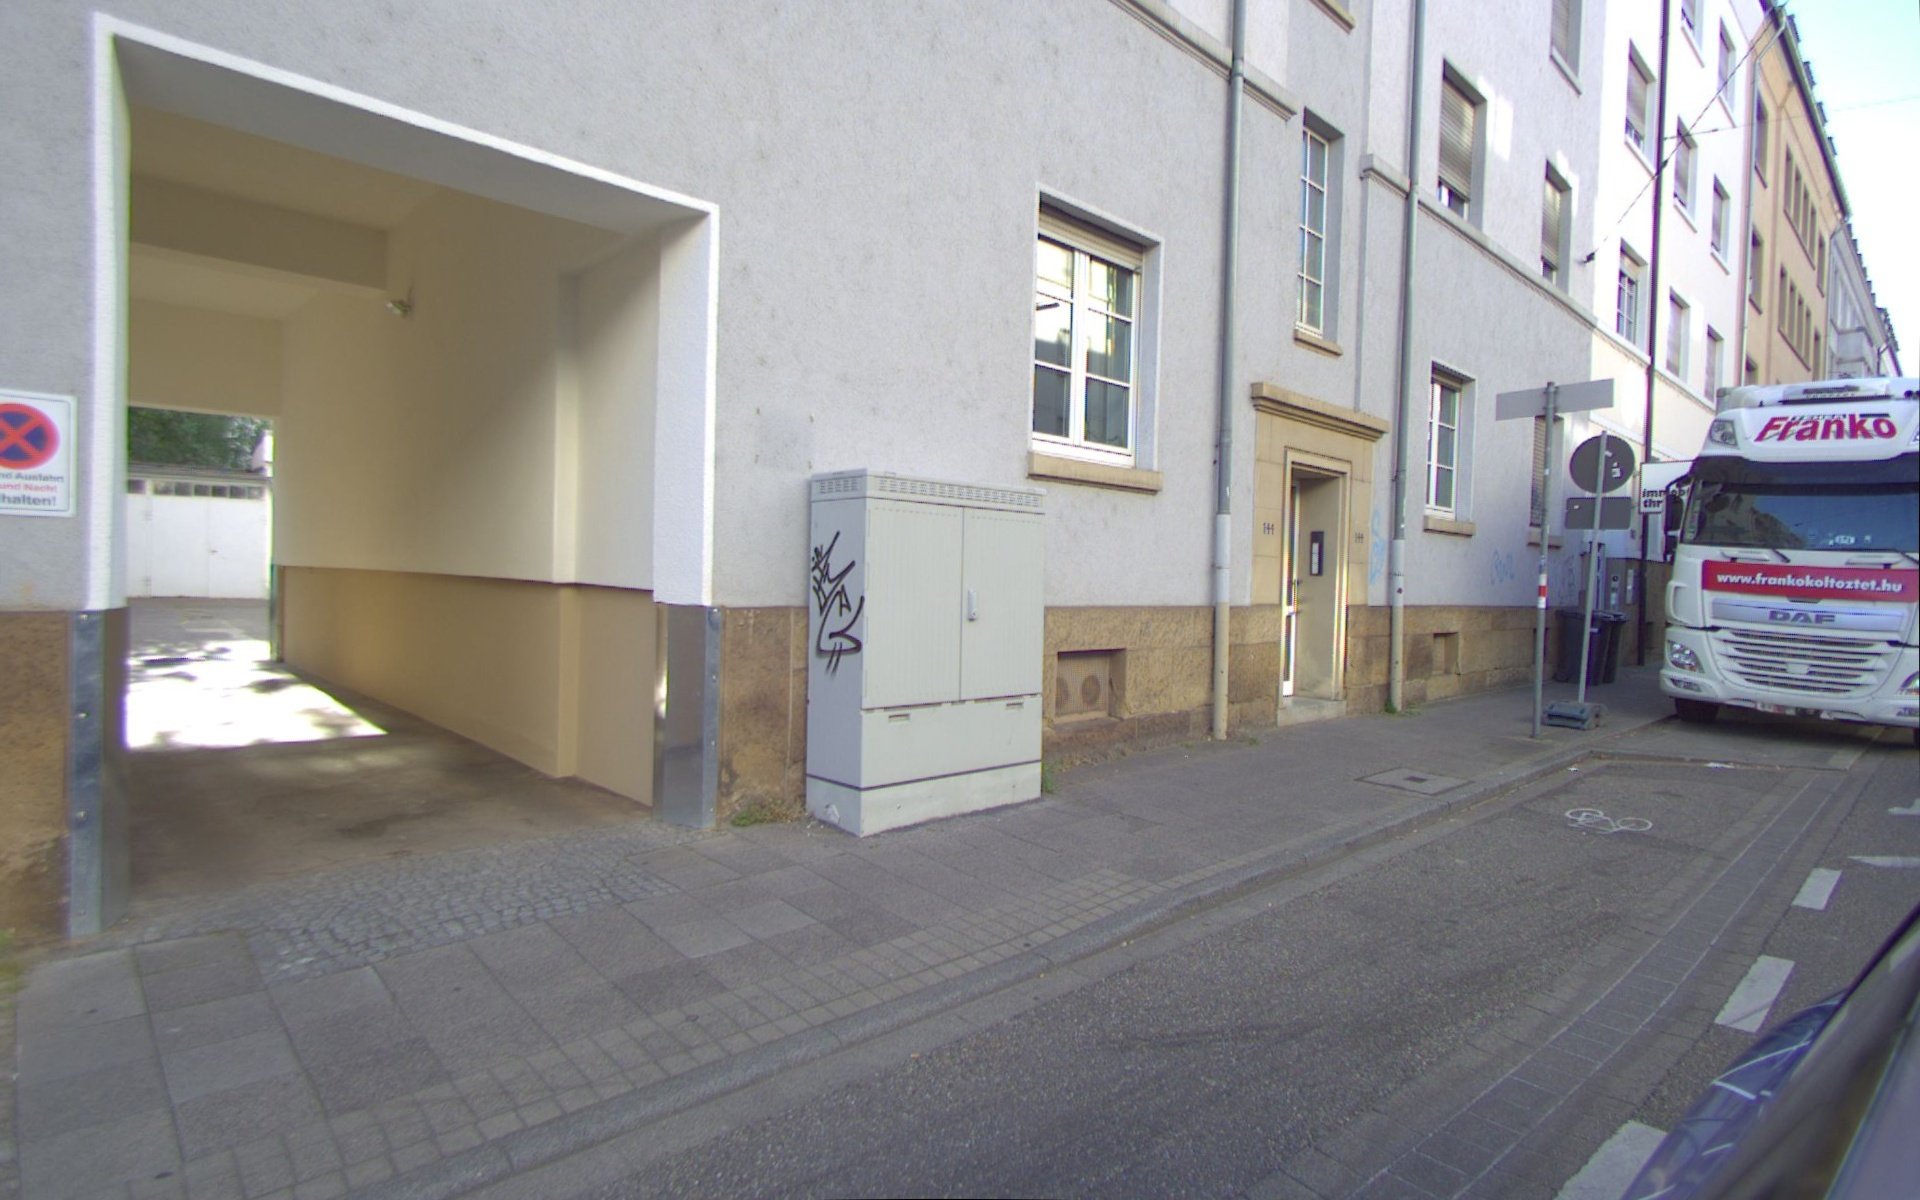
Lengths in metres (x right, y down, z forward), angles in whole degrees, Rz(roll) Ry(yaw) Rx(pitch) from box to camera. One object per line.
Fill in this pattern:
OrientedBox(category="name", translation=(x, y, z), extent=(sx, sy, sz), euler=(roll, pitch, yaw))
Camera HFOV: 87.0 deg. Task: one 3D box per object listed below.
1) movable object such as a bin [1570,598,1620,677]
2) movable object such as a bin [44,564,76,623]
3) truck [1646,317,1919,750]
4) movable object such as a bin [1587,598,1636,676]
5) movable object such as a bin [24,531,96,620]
OrientedBox(category="movable object such as a bin", translation=(9.142, 0.521, 14.570), extent=(0.511, 1.106, 0.488), euler=(0, 0, 45))
OrientedBox(category="movable object such as a bin", translation=(-14.380, -0.112, 16.171), extent=(0.366, 0.919, 0.420), euler=(0, 3, -44))
OrientedBox(category="truck", translation=(12.568, -0.607, 13.868), extent=(11.511, 4.012, 2.894), euler=(0, 0, -44))
OrientedBox(category="movable object such as a bin", translation=(9.605, 0.531, 14.925), extent=(0.511, 1.106, 0.488), euler=(0, 0, 45))
OrientedBox(category="movable object such as a bin", translation=(-14.927, -0.416, 16.788), extent=(0.874, 1.409, 0.758), euler=(0, 4, -44))
